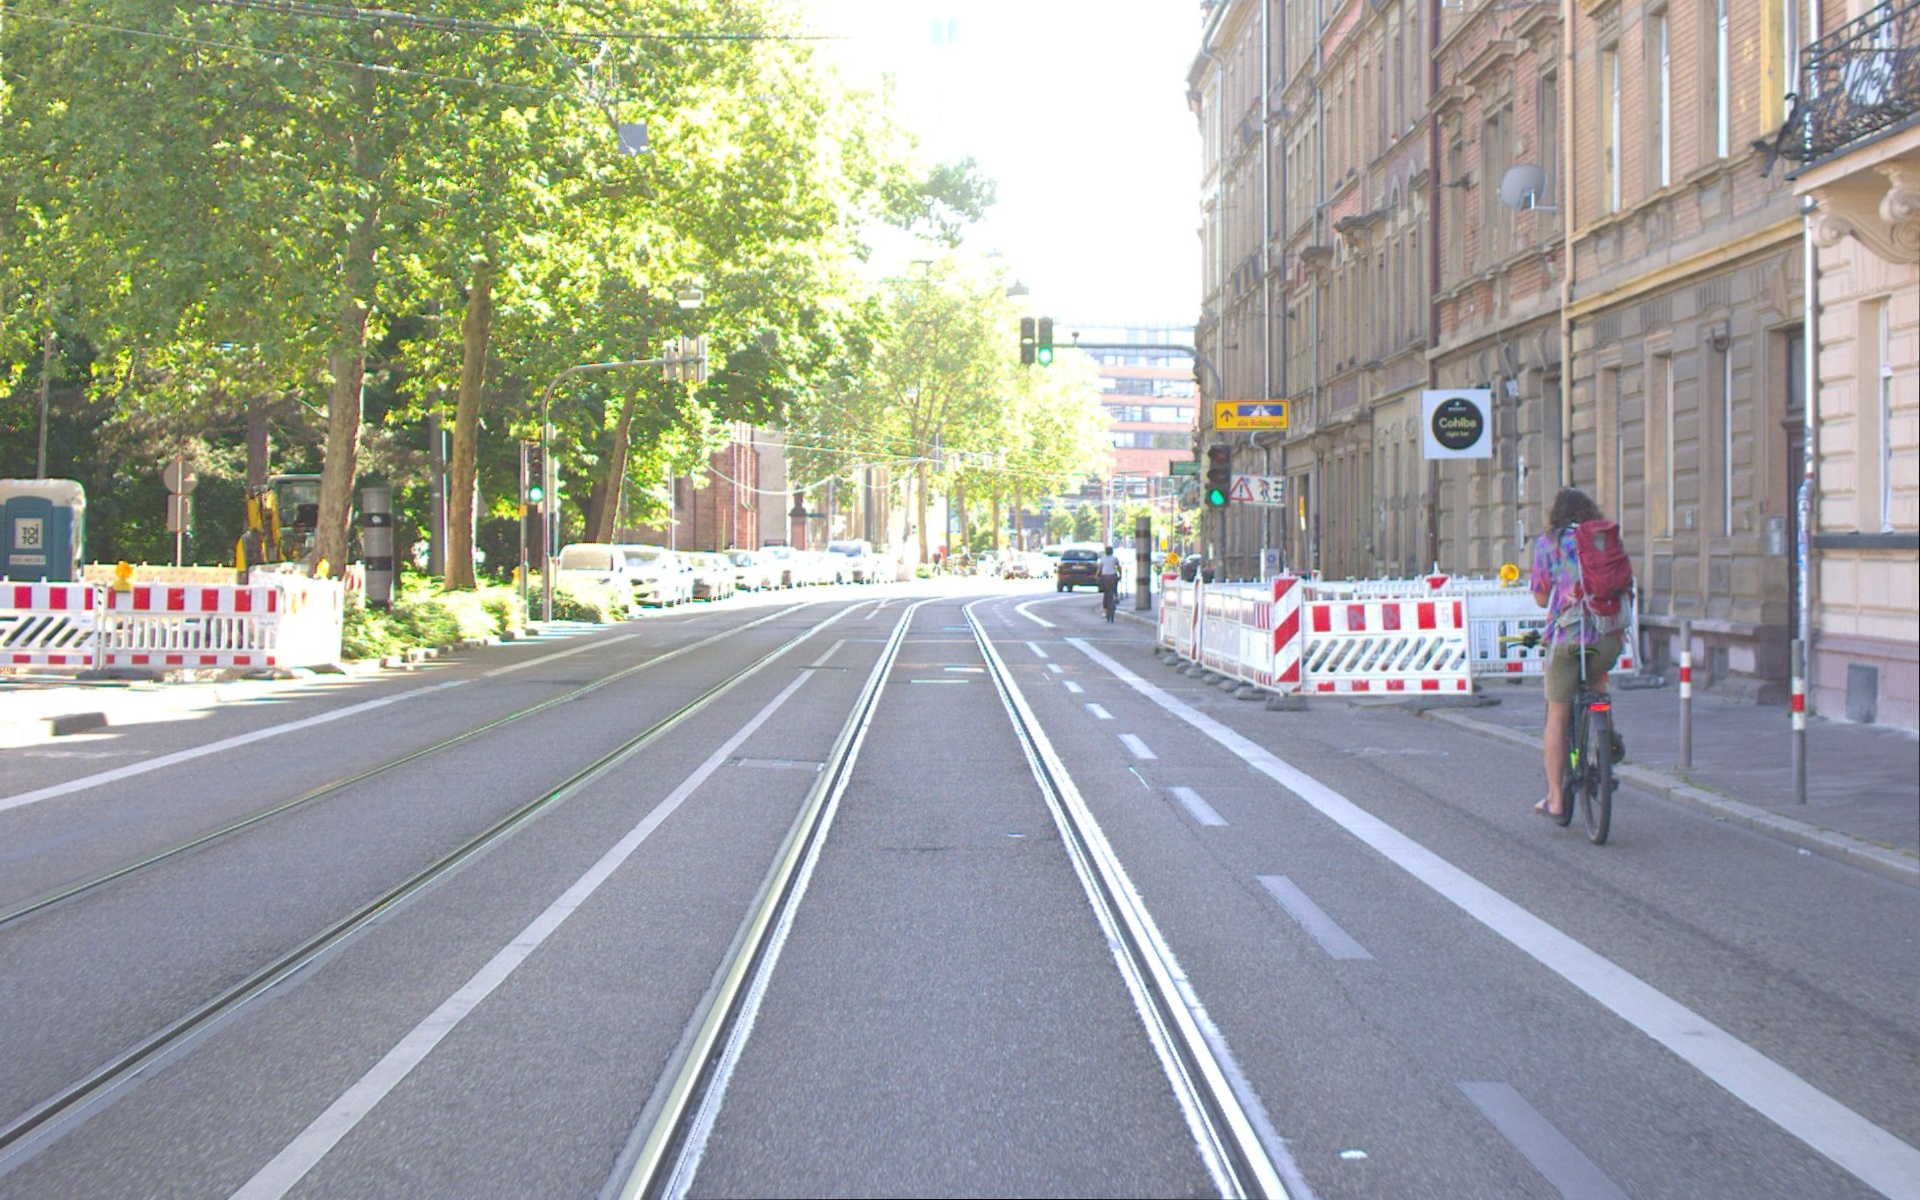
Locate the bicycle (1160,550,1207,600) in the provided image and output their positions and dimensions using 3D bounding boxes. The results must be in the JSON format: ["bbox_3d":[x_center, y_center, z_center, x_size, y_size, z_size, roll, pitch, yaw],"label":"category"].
[{"bbox_3d":[6.896,-0.763,106.015,0.971,1.510,3.244,2,0,12],"label":"bicycle"}]

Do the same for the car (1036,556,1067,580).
[{"bbox_3d":[5.795,-2.026,217.934,1.748,1.417,4.043,2,0,4],"label":"car"}]

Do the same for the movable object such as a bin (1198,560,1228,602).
[{"bbox_3d":[6.255,-0.471,84.983,0.673,1.032,0.813,0,2,0],"label":"movable object such as a bin"}]

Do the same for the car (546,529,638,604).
[{"bbox_3d":[-8.523,-0.764,79.787,1.545,1.653,3.762,2,0,2],"label":"car"}]

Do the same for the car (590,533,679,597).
[{"bbox_3d":[-8.522,-0.902,90.223,1.748,1.602,4.043,2,0,2],"label":"car"}]

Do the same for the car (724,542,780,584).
[{"bbox_3d":[-8.090,-1.432,133.844,1.748,1.581,4.043,2,0,2],"label":"car"}]

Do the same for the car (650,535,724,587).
[{"bbox_3d":[-8.375,-1.183,105.832,1.748,1.504,4.043,2,0,2],"label":"car"}]

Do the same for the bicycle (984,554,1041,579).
[{"bbox_3d":[2.797,-1.784,182.178,2.889,1.227,0.883,2,0,11],"label":"bicycle"}]

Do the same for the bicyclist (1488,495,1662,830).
[{"bbox_3d":[3.217,0.314,18.062,0.667,1.691,1.043,2,0,-1],"label":"bicyclist"}]

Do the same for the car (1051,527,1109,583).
[{"bbox_3d":[4.487,-1.683,129.215,1.993,2.007,4.000,2,0,0],"label":"car"}]

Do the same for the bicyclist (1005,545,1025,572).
[{"bbox_3d":[2.919,-2.189,182.146,0.899,1.423,1.052,2,0,9],"label":"bicyclist"}]

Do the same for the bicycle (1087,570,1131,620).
[{"bbox_3d":[3.347,-0.122,77.365,0.856,1.084,2.487,2,0,0],"label":"bicycle"}]

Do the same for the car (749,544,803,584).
[{"bbox_3d":[-7.431,-1.451,139.281,1.748,1.581,4.043,2,0,2],"label":"car"}]

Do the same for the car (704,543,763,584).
[{"bbox_3d":[-8.475,-1.362,128.780,1.748,1.490,4.043,2,0,2],"label":"car"}]

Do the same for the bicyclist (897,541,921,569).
[{"bbox_3d":[-2.671,-2.335,179.640,1.078,1.423,1.146,2,0,8],"label":"bicyclist"}]

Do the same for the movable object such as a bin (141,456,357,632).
[{"bbox_3d":[-11.485,-0.909,56.008,2.495,2.636,5.990,2,1,-3],"label":"movable object such as a bin"}]

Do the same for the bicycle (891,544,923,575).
[{"bbox_3d":[-2.765,-2.101,179.689,1.234,1.567,2.896,2,0,7],"label":"bicycle"}]

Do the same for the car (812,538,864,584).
[{"bbox_3d":[-5.648,-1.801,159.572,2.058,2.045,4.043,2,0,2],"label":"car"}]

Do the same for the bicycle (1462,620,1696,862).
[{"bbox_3d":[3.210,0.695,18.087,0.681,1.110,2.707,2,1,-1],"label":"bicycle"}]

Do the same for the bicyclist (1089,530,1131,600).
[{"bbox_3d":[3.366,-0.789,77.311,0.838,1.552,0.965,2,0,-1],"label":"bicyclist"}]

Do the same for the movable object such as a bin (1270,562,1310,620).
[{"bbox_3d":[6.412,-0.181,66.801,0.620,1.106,0.781,2,0,-3],"label":"movable object such as a bin"}]
